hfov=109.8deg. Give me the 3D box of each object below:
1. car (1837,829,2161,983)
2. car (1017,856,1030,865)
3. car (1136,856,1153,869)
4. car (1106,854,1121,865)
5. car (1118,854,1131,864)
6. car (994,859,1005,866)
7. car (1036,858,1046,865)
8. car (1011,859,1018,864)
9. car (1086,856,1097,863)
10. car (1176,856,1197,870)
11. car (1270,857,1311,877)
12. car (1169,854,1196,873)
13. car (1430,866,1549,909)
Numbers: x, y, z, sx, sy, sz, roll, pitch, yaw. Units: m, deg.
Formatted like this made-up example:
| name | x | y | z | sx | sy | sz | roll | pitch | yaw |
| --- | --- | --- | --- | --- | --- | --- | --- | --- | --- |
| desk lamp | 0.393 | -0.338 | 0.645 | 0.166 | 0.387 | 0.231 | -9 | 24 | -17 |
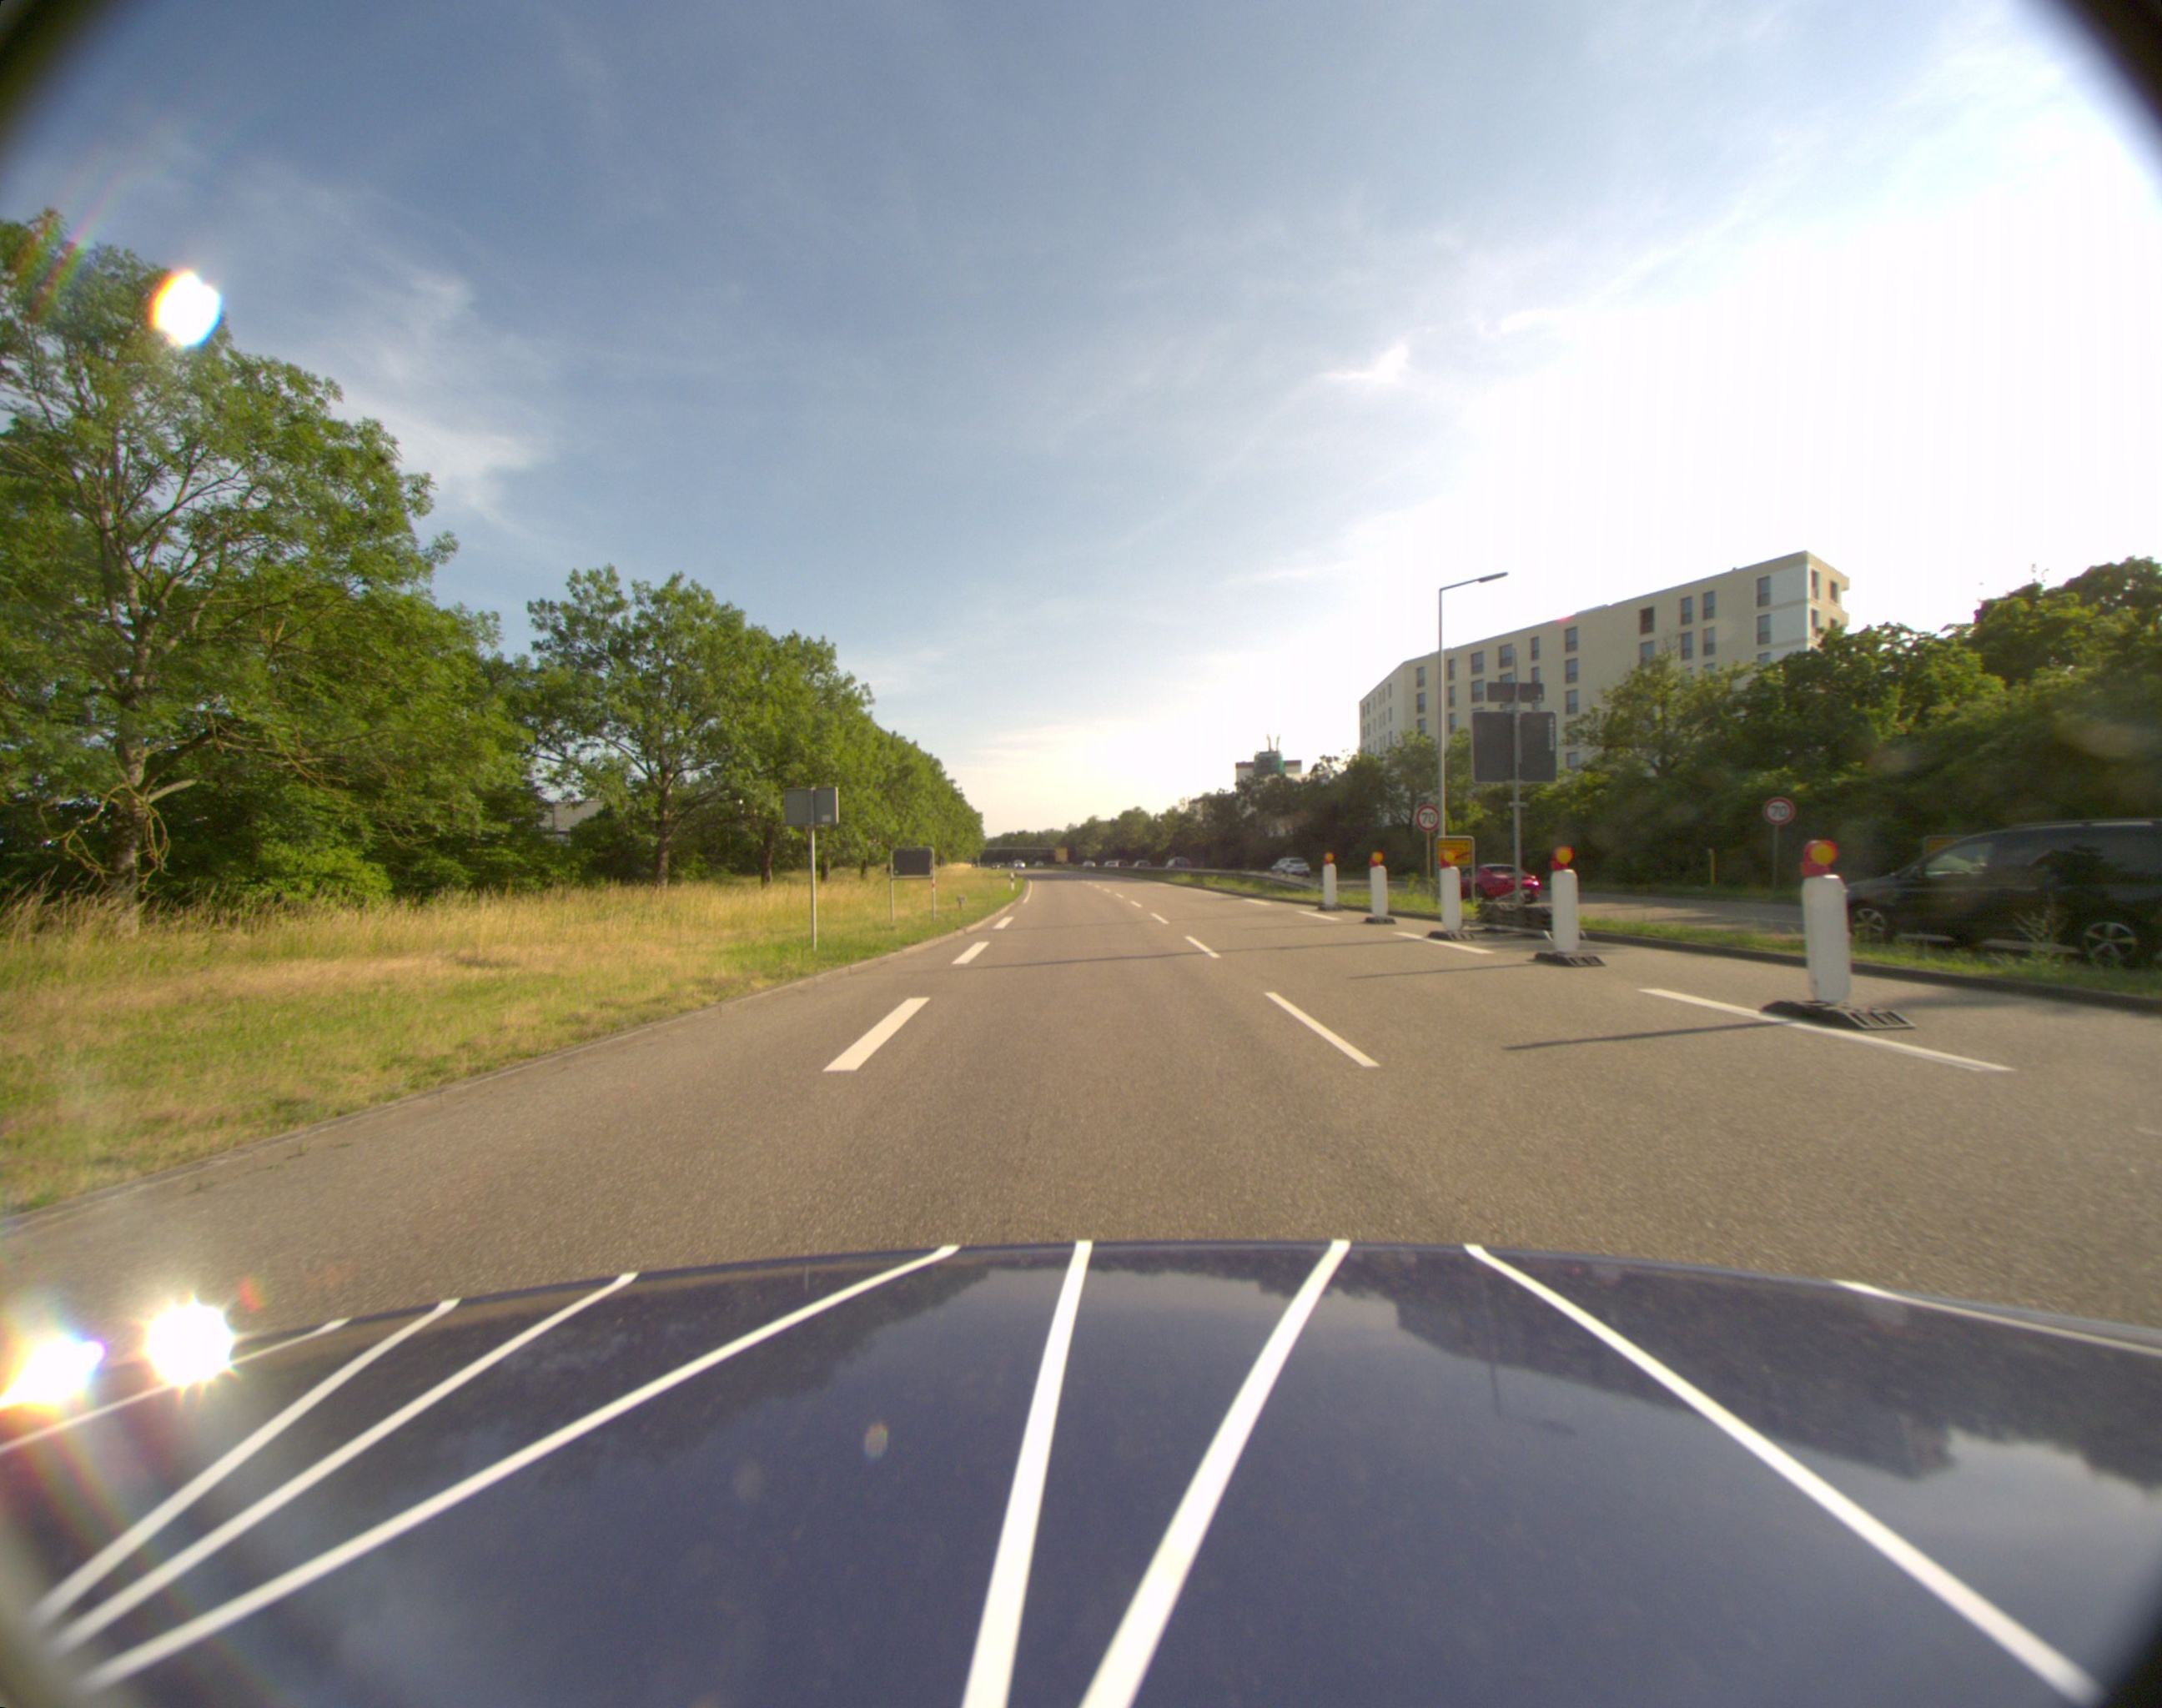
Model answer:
| name | x | y | z | sx | sy | sz | roll | pitch | yaw |
| --- | --- | --- | --- | --- | --- | --- | --- | --- | --- |
| car | 13.456 | 0.590 | 10.545 | 1.790 | 1.796 | 4.123 | -1 | 0 | -1 |
| car | -12.015 | 1.315 | 159.394 | 1.903 | 1.813 | 4.350 | -3 | 0 | -15 |
| car | 7.470 | 1.020 | 89.901 | 1.607 | 1.432 | 3.235 | -2 | 0 | -2 |
| car | 4.713 | 0.815 | 109.506 | 1.608 | 1.433 | 3.234 | -2 | 0 | -6 |
| car | 6.909 | 0.749 | 121.006 | 1.607 | 1.433 | 3.235 | -2 | 0 | -4 |
| car | -18.884 | 1.954 | 176.343 | 1.903 | 1.377 | 4.350 | -3 | 0 | -15 |
| car | -9.891 | 1.865 | 186.273 | 1.647 | 1.432 | 4.197 | -3 | 0 | -14 |
| car | -20.886 | 2.362 | 237.288 | 1.608 | 1.432 | 4.197 | -3 | 0 | -12 |
| car | 1.990 | 1.095 | 150.126 | 1.608 | 1.432 | 3.233 | -2 | 0 | -9 |
| car | 12.007 | 1.033 | 86.742 | 1.673 | 1.432 | 3.938 | -2 | 0 | -2 |
| car | 14.835 | 0.895 | 53.930 | 1.644 | 1.368 | 4.063 | -2 | 0 | -2 |
| car | 9.430 | 0.853 | 70.649 | 1.736 | 1.602 | 3.523 | -2 | 0 | -4 |
| car | 12.485 | 0.982 | 23.493 | 1.515 | 1.151 | 3.671 | -2 | 0 | -4 |
